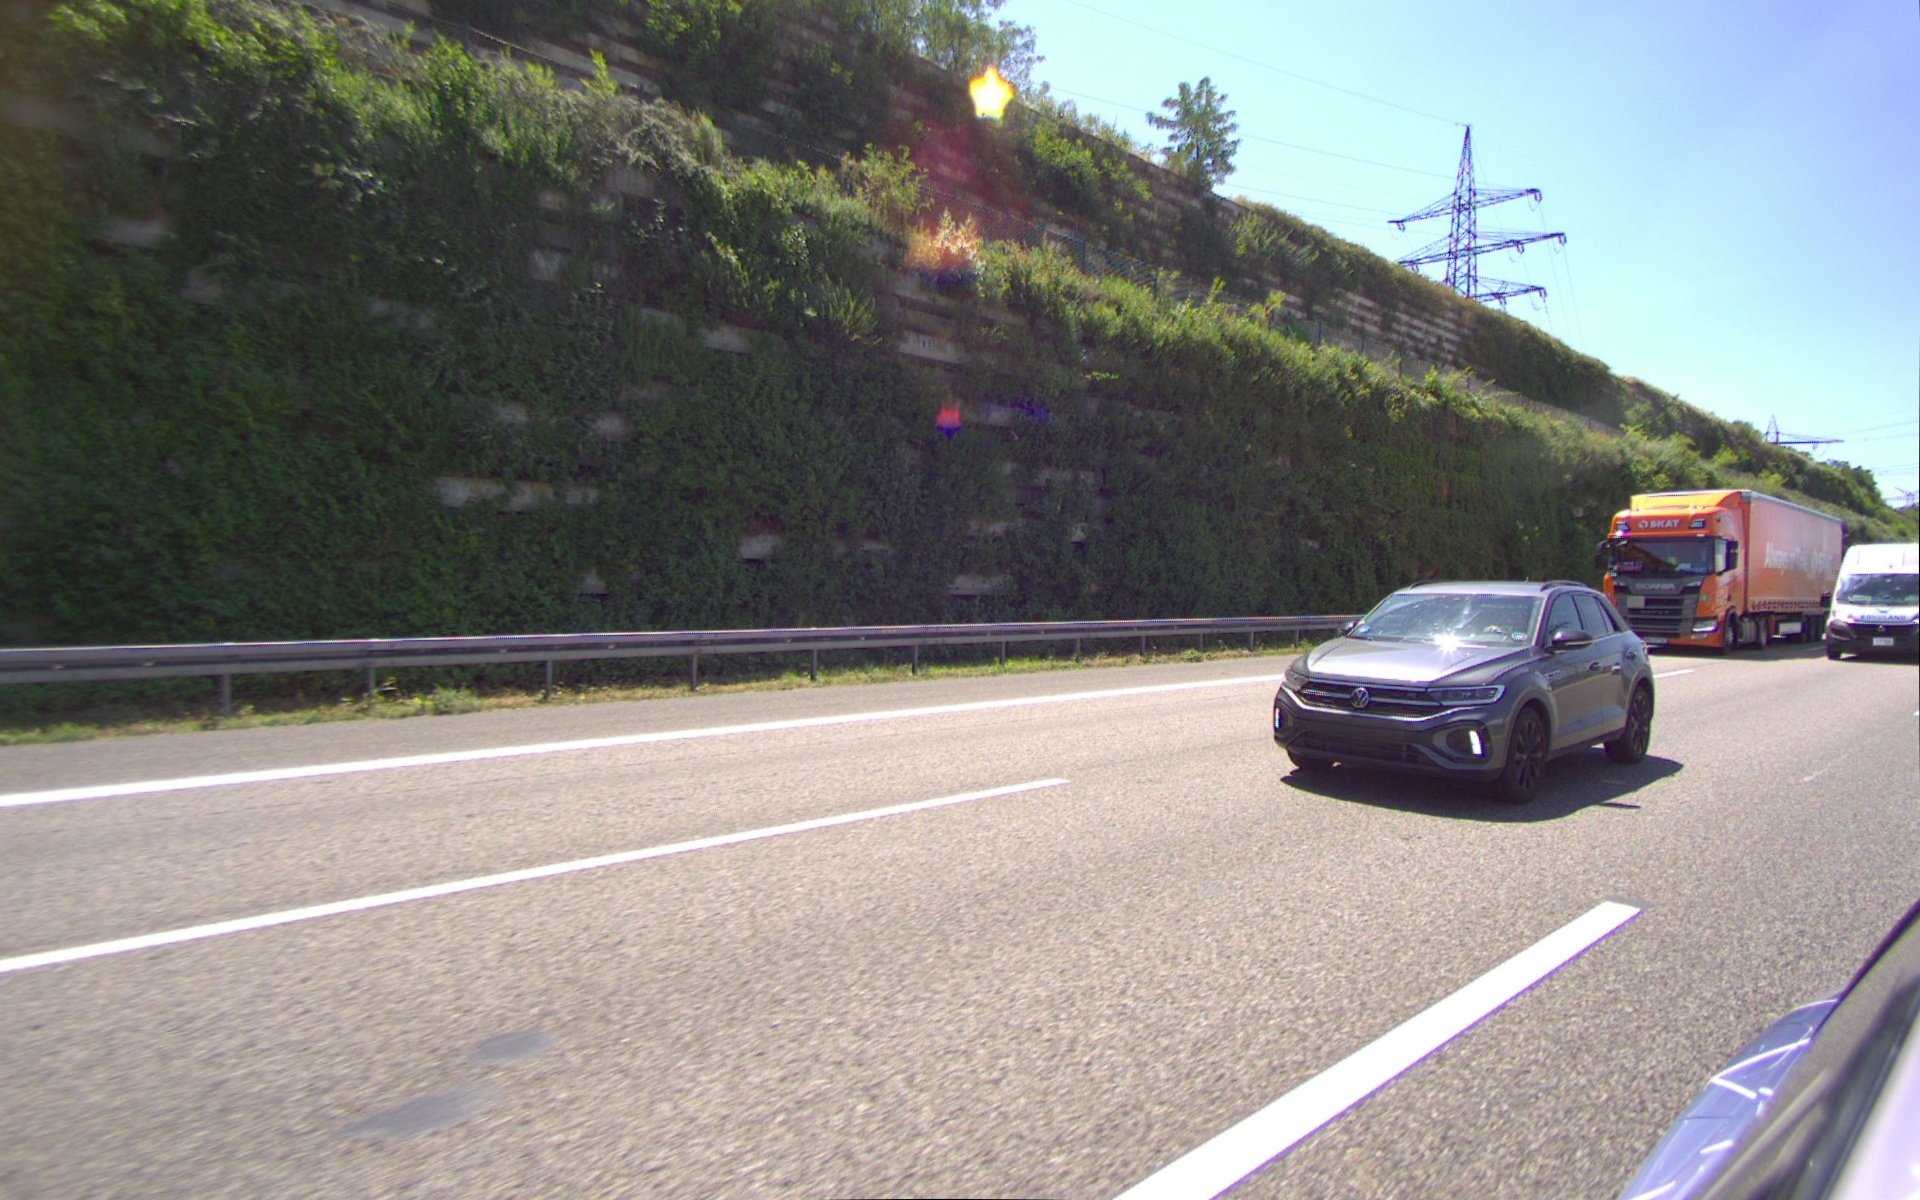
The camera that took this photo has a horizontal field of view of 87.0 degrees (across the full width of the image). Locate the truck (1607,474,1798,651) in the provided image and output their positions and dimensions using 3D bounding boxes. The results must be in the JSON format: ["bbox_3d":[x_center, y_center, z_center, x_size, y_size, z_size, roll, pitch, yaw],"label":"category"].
[{"bbox_3d":[19.362,-0.902,26.256,6.413,4.042,2.622,0,1,-41],"label":"truck"}]

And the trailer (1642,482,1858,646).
[{"bbox_3d":[24.086,-0.946,30.398,13.369,4.055,2.650,0,1,-41],"label":"trailer"}]

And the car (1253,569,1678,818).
[{"bbox_3d":[4.267,0.548,8.280,3.926,1.544,1.752,0,2,-41],"label":"car"}]

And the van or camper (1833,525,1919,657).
[{"bbox_3d":[22.717,-0.211,24.070,6.640,2.803,2.100,0,1,-42],"label":"van or camper"}]
